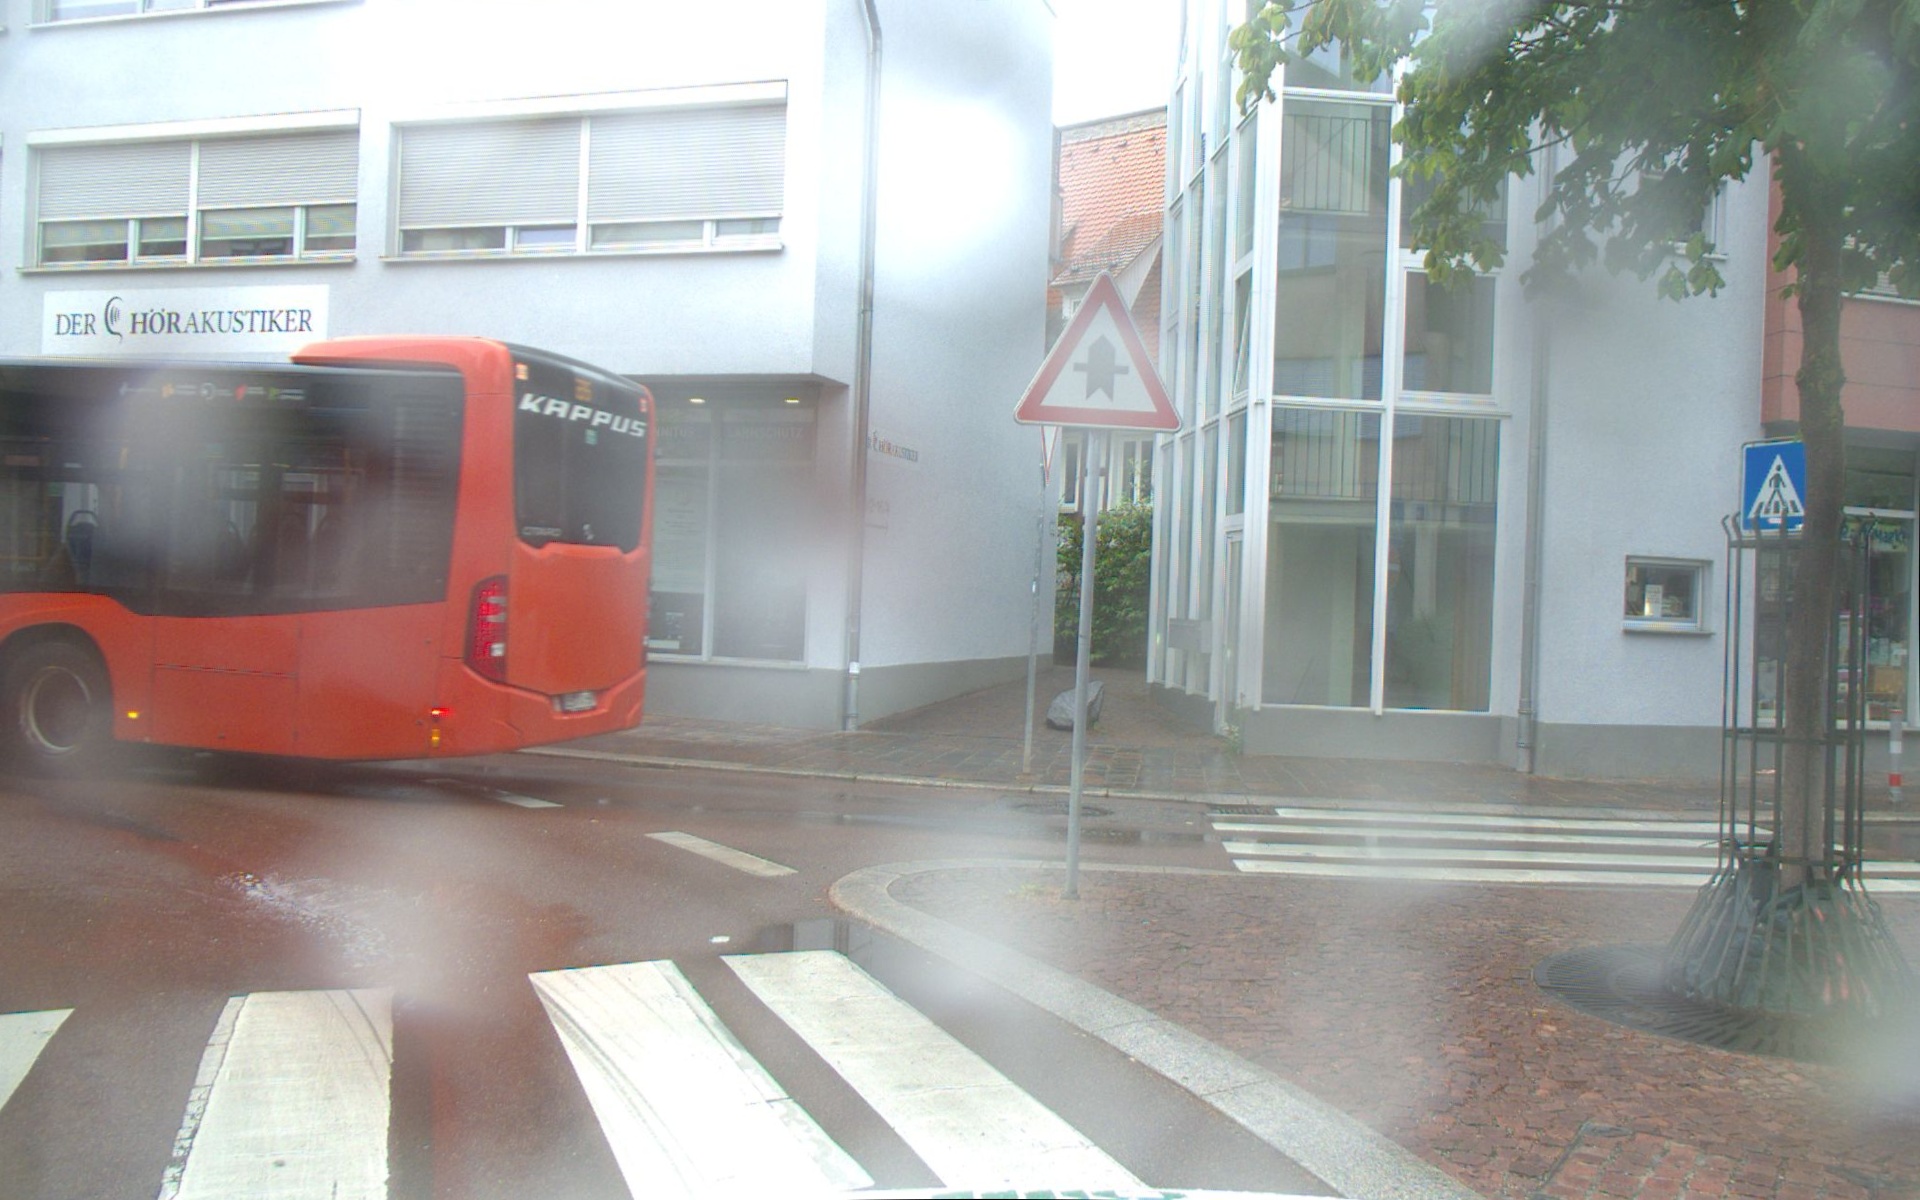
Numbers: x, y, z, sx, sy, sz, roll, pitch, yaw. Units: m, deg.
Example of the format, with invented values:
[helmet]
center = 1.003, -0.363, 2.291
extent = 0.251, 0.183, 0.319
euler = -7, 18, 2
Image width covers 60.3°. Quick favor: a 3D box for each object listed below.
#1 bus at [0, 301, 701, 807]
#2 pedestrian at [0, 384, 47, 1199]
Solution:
[bus]
center = -7.453, -0.445, 12.847
extent = 10.348, 3.143, 2.824
euler = 2, -1, 14
[pedestrian]
center = -2.327, 0.498, 2.886
extent = 0.651, 1.838, 1.058
euler = 1, -1, 33
